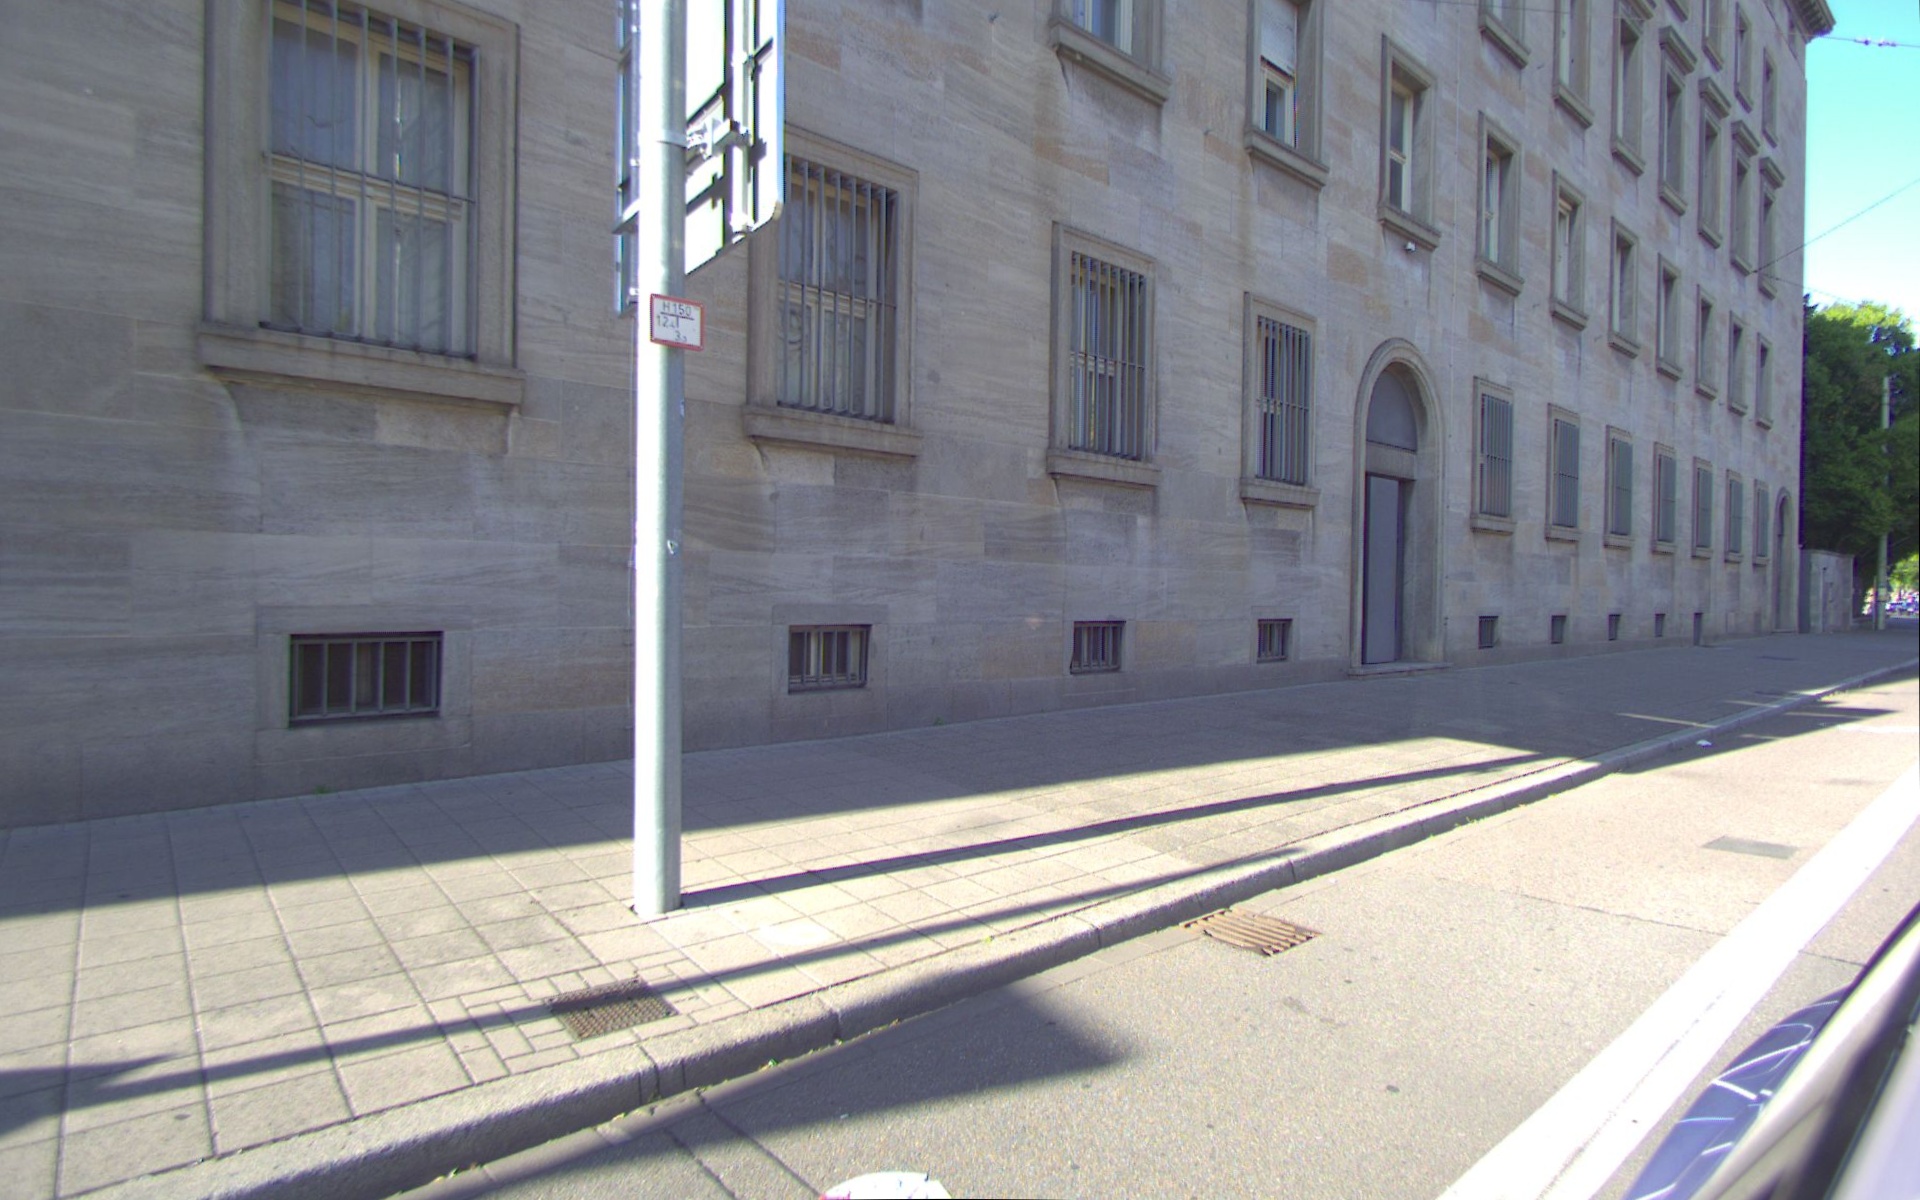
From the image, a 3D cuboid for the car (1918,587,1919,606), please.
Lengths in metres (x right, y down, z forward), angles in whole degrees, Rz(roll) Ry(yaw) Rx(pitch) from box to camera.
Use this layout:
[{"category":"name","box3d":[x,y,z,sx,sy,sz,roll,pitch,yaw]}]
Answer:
[{"category":"car","box3d":[101.948,-0.309,105.990,1.990,2.039,3.945,2,1,38]}]
